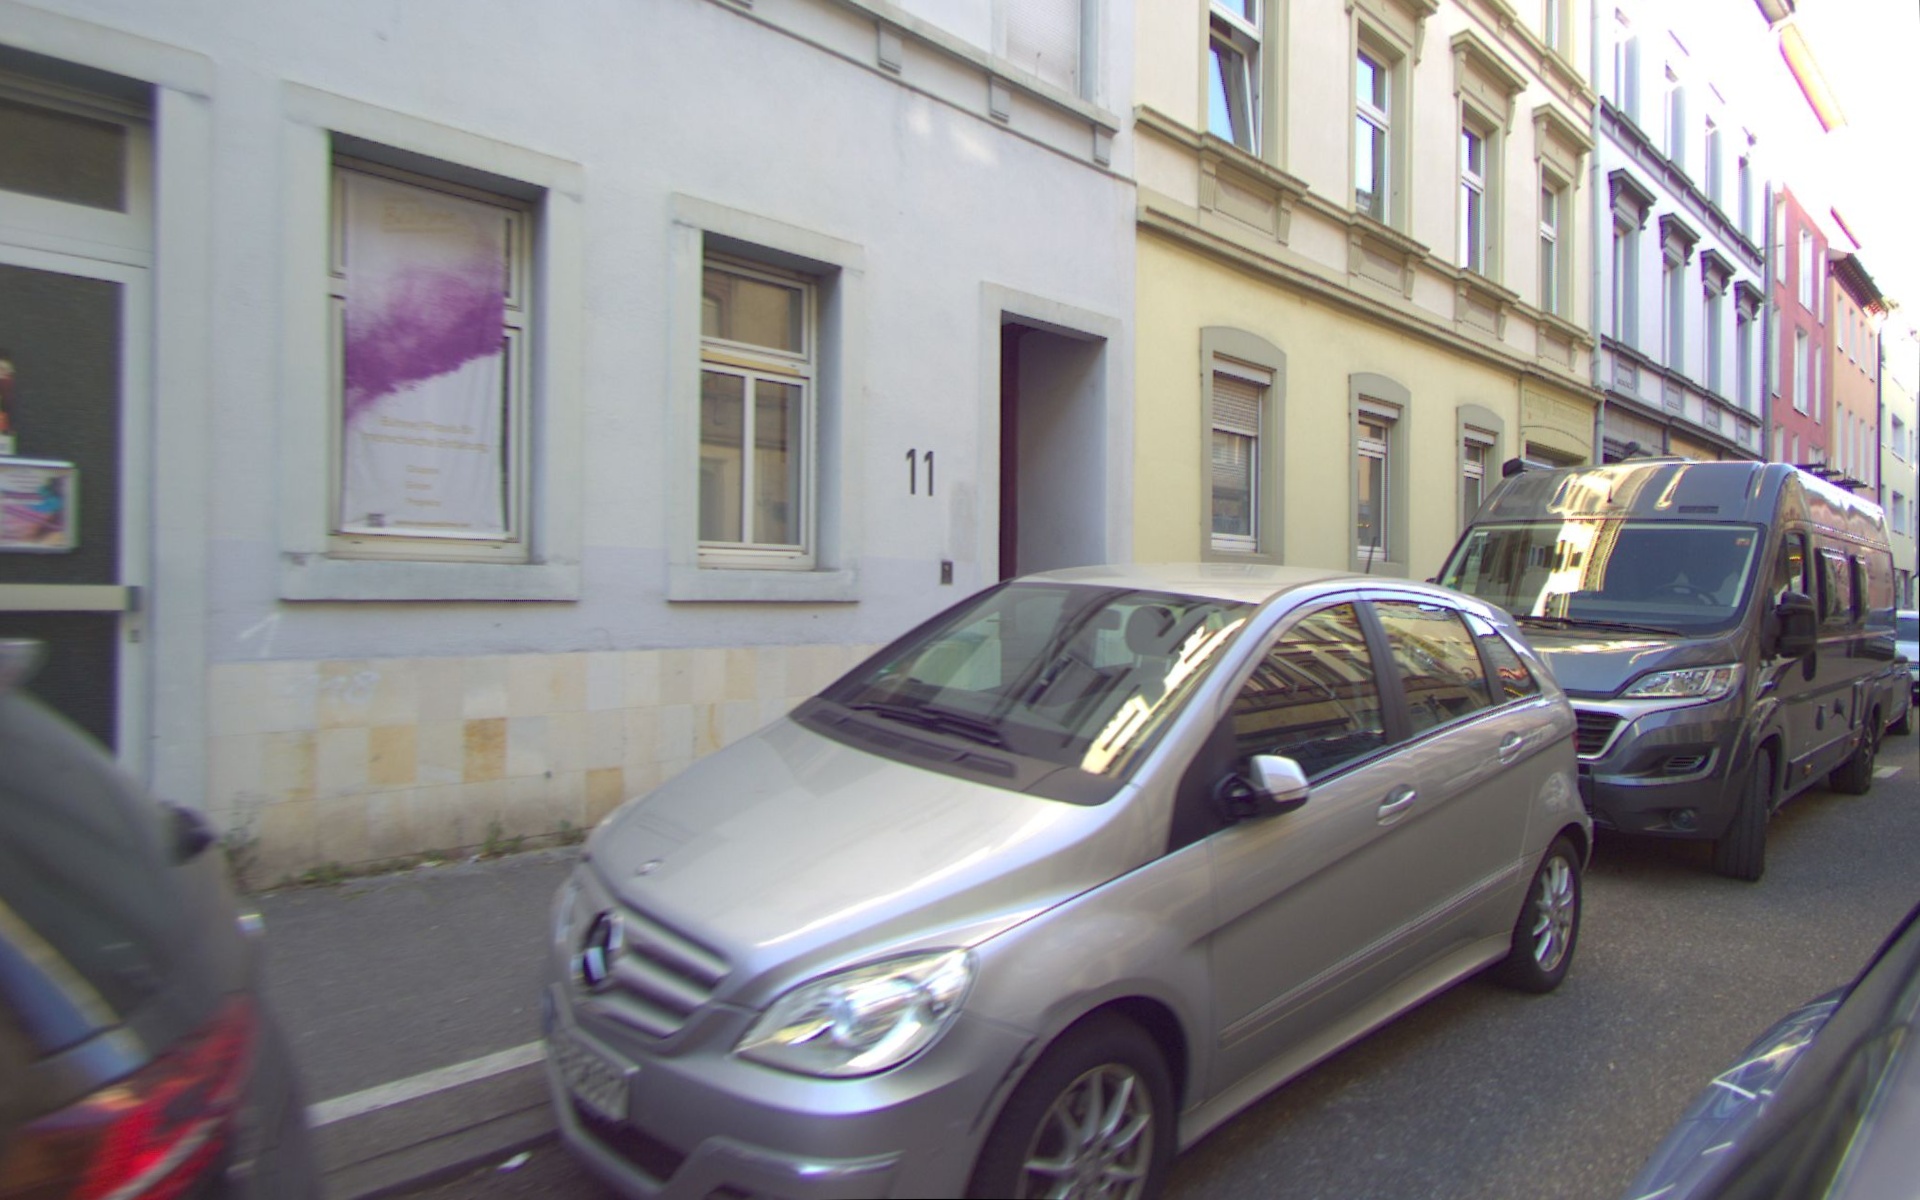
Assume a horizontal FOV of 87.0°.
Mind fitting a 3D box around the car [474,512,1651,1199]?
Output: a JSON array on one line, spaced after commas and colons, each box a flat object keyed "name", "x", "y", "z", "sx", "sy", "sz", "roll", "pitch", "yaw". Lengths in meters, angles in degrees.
[{"name": "car", "x": 0.805, "y": 0.643, "z": 3.633, "sx": 4.298, "sy": 1.628, "sz": 1.697, "roll": 0, "pitch": 2, "yaw": -41}]

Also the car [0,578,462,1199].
[{"name": "car", "x": -2.730, "y": 0.718, "z": 0.489, "sx": 4.168, "sy": 1.504, "sz": 1.749, "roll": 0, "pitch": 1, "yaw": -41}]

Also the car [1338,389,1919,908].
[{"name": "car", "x": 5.478, "y": 0.199, "z": 7.665, "sx": 6.199, "sy": 2.455, "sz": 2.179, "roll": 0, "pitch": 2, "yaw": -41}]

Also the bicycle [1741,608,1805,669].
[{"name": "bicycle", "x": 16.584, "y": 0.755, "z": 20.625, "sx": 1.869, "sy": 1.110, "sz": 0.711, "roll": 0, "pitch": 3, "yaw": -43}]

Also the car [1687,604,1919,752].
[{"name": "car", "x": 10.358, "y": 0.790, "z": 12.143, "sx": 4.098, "sy": 1.463, "sz": 1.750, "roll": 0, "pitch": 0, "yaw": -41}]

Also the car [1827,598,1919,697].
[{"name": "car", "x": 16.518, "y": 0.759, "z": 17.407, "sx": 4.468, "sy": 1.472, "sz": 1.790, "roll": 0, "pitch": 3, "yaw": -41}]
